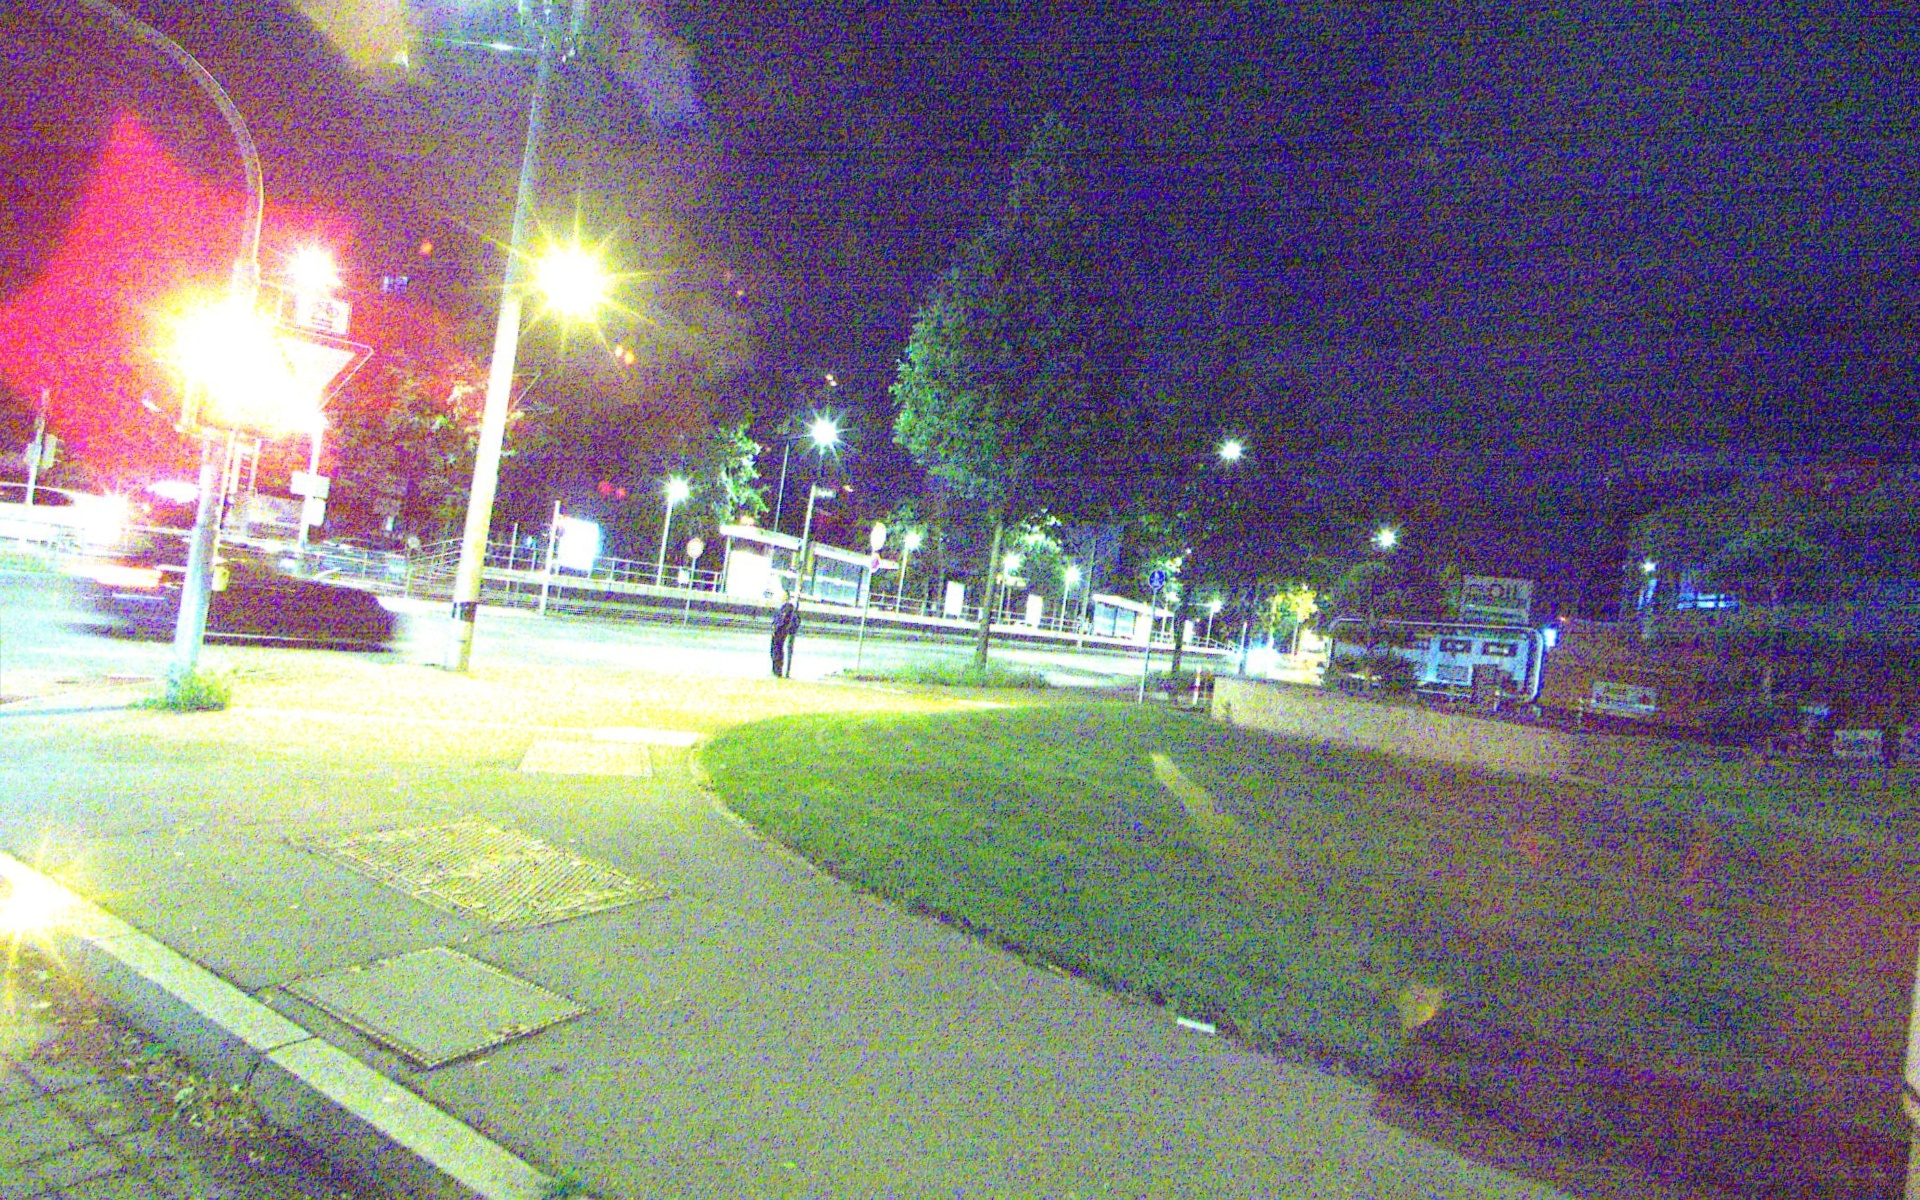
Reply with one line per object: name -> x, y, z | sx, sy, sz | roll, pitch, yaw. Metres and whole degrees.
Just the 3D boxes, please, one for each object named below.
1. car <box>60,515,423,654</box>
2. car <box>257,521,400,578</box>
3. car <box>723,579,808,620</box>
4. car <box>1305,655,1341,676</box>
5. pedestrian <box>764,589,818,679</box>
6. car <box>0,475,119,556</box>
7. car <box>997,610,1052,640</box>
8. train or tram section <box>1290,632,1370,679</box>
car -> -10.266, -0.139, 14.670 | 1.631, 1.492, 3.880 | 10, 1, 32
car -> -23.594, -1.852, 37.732 | 1.813, 1.441, 4.063 | 9, 0, 35
car -> -9.986, 0.020, 51.826 | 1.776, 1.604, 3.987 | 8, 0, 37
car -> 28.895, 5.225, 80.052 | 1.617, 1.438, 3.687 | 7, 0, 35
pedestrian -> -3.309, 0.654, 19.608 | 0.867, 1.677, 0.835 | 2, 1, -18
car -> -26.641, -2.510, 27.808 | 1.814, 1.865, 4.785 | 6, -2, 35
car -> 4.802, 1.865, 74.140 | 1.816, 1.603, 4.578 | 8, -2, 33
train or tram section -> 39.424, 6.037, 106.445 | 2.918, 3.896, 18.427 | 8, 0, 35
